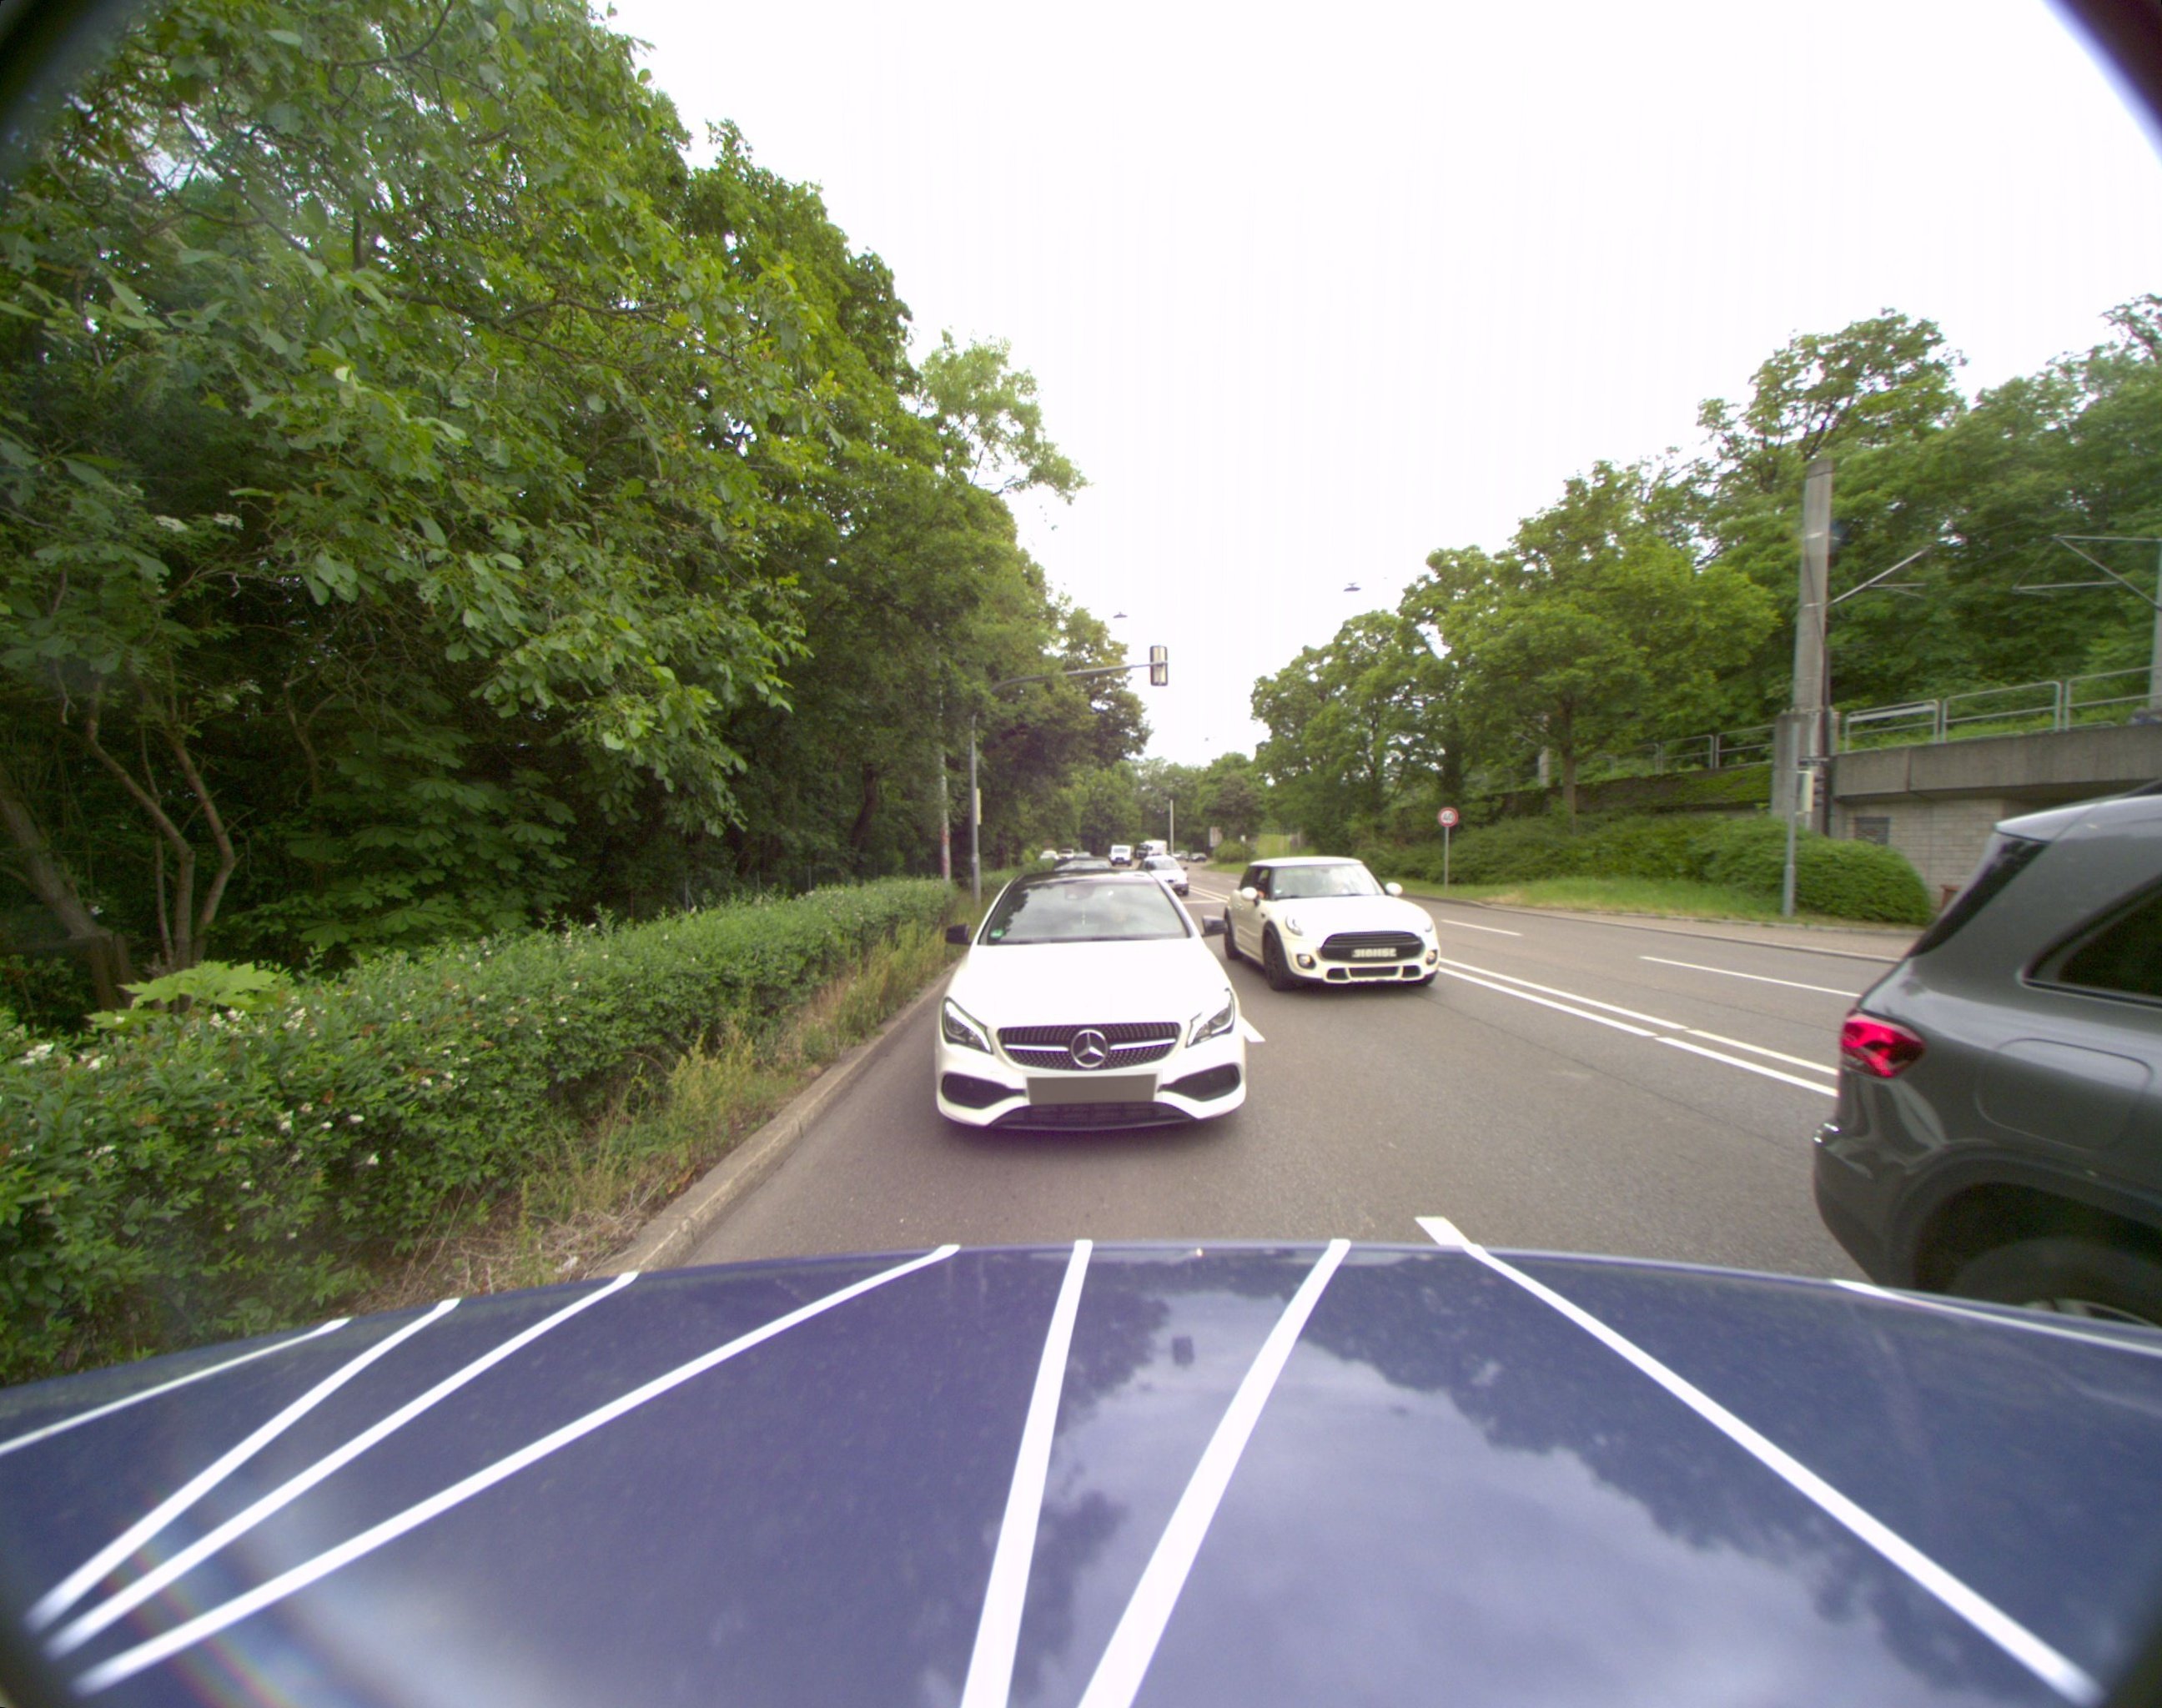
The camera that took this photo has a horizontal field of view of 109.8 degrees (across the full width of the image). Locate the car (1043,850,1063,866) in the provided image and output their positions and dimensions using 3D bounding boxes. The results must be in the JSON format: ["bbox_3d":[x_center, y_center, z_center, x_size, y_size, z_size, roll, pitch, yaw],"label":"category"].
[{"bbox_3d":[-2.773,0.368,74.818,1.765,1.433,3.891,1,0,0],"label":"car"}]

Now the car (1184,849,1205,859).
[{"bbox_3d":[18.213,0.028,121.789,1.850,1.641,4.366,1,1,27],"label":"car"}]

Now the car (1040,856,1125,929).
[{"bbox_3d":[0.052,0.823,18.314,1.755,1.417,4.010,3,1,0],"label":"car"}]

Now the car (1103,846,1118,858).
[{"bbox_3d":[3.966,-0.229,103.223,1.754,1.575,4.012,1,0,6],"label":"car"}]

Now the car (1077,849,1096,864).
[{"bbox_3d":[0.543,0.200,76.618,1.765,1.433,3.891,1,0,0],"label":"car"}]

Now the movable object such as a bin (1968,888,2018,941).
[{"bbox_3d":[19.018,1.249,15.854,0.419,1.057,0.503,0,1,-4],"label":"movable object such as a bin"}]

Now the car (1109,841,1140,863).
[{"bbox_3d":[4.711,-0.207,81.672,2.283,2.187,6.464,-1,0,12],"label":"car"}]

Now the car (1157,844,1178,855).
[{"bbox_3d":[12.869,-0.676,112.704,1.850,1.641,4.365,1,0,25],"label":"car"}]

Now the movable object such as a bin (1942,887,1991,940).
[{"bbox_3d":[18.371,1.235,15.770,0.419,1.057,0.503,0,1,-4],"label":"movable object such as a bin"}]

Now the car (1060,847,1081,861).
[{"bbox_3d":[-1.216,-0.016,89.870,1.754,1.575,4.013,1,0,10],"label":"car"}]

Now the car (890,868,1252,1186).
[{"bbox_3d":[-0.022,0.932,5.910,1.801,1.470,4.010,-2,0,1],"label":"car"}]

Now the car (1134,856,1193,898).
[{"bbox_3d":[2.965,0.792,28.050,1.664,1.382,4.182,-1,0,-1],"label":"car"}]

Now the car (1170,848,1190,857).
[{"bbox_3d":[17.035,-0.234,130.507,1.751,1.354,4.019,4,1,33],"label":"car"}]

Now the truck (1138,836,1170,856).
[{"bbox_3d":[11.740,-1.257,122.179,2.195,3.137,6.665,2,1,33],"label":"truck"}]

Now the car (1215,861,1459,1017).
[{"bbox_3d":[2.782,0.834,9.158,1.688,1.415,3.732,-1,0,0],"label":"car"}]
